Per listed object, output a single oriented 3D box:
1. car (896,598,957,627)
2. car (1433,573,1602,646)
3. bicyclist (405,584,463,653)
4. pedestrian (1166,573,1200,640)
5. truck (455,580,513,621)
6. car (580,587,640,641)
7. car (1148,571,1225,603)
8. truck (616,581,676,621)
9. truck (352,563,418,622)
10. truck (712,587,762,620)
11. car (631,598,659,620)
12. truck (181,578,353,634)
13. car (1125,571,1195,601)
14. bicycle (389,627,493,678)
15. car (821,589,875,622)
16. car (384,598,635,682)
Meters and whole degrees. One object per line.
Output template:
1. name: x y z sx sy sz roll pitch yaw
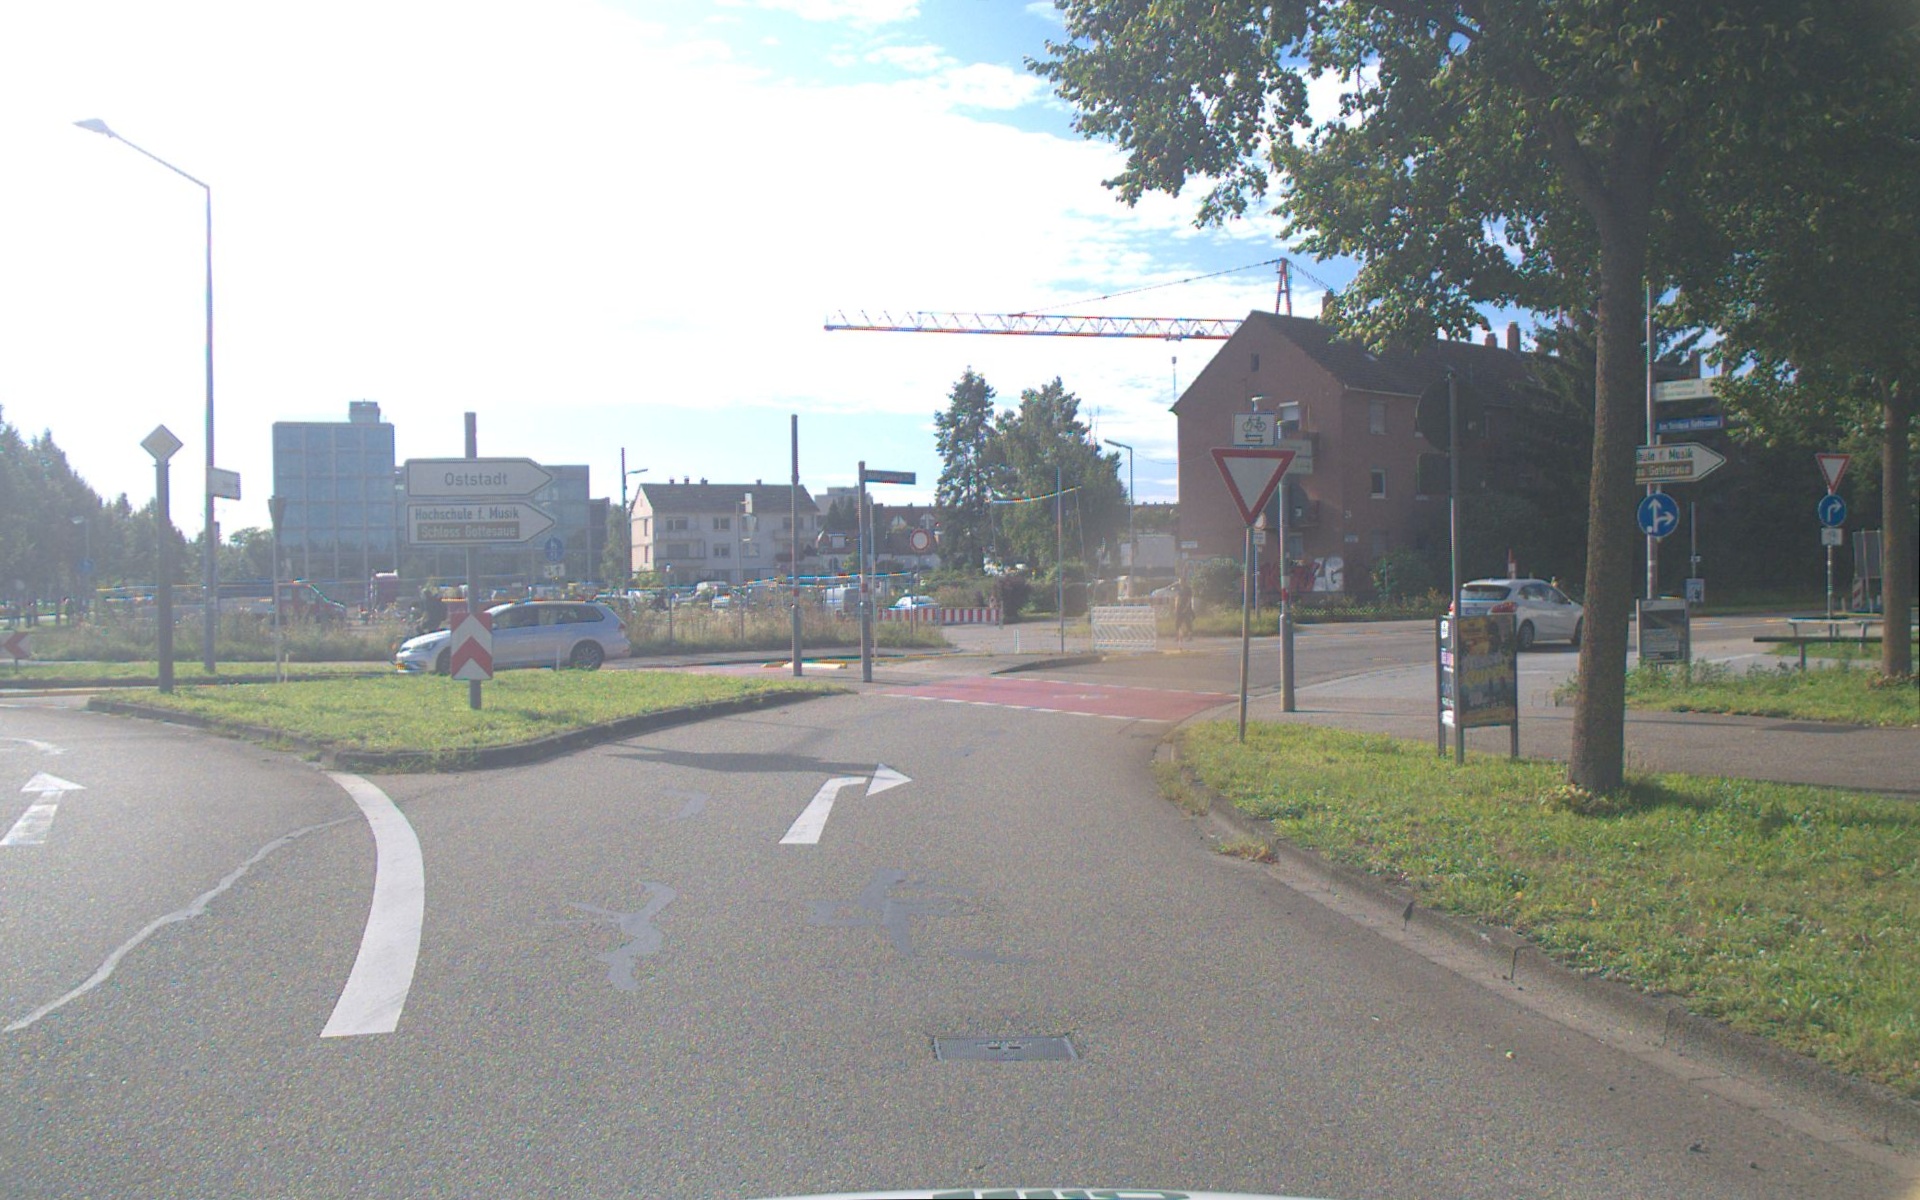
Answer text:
1. car: -1.768 0.646 85.807 1.694 1.417 3.969 -1 0 -25
2. car: 13.039 0.171 38.577 4.416 1.600 1.828 -1 1 -42
3. bicyclist: -11.967 0.420 37.642 0.985 1.538 0.706 -1 1 12
4. pedestrian: 6.443 0.186 47.774 0.655 1.903 0.833 -1 0 32
5. truck: -28.615 0.003 99.339 2.299 2.368 6.399 -1 0 -26
6. car: -12.500 0.473 59.249 1.845 1.847 3.992 -1 0 -9
7. car: 12.323 -0.711 89.911 3.902 1.646 1.775 -1 0 15
8. truck: -19.648 0.068 103.312 2.258 2.368 5.591 -1 0 -26
9. truck: -33.621 -0.453 96.544 2.773 3.263 7.255 -1 0 -26
10. truck: -15.515 0.217 114.896 1.949 2.209 5.363 -1 0 -25
11. car: -27.028 0.756 141.814 1.962 1.892 3.982 -1 0 -16
12. truck: -34.537 0.253 82.650 7.729 2.612 3.052 -1 0 -23
13. car: 11.557 -0.828 95.813 3.903 1.646 1.774 -1 0 5
14. bicycle: -11.804 1.197 37.635 2.150 1.081 0.706 -1 1 12
15. car: -6.510 0.308 95.923 1.855 1.847 3.969 -1 0 -25
16. car: -8.894 0.743 32.783 4.485 1.477 1.803 -1 1 -33
